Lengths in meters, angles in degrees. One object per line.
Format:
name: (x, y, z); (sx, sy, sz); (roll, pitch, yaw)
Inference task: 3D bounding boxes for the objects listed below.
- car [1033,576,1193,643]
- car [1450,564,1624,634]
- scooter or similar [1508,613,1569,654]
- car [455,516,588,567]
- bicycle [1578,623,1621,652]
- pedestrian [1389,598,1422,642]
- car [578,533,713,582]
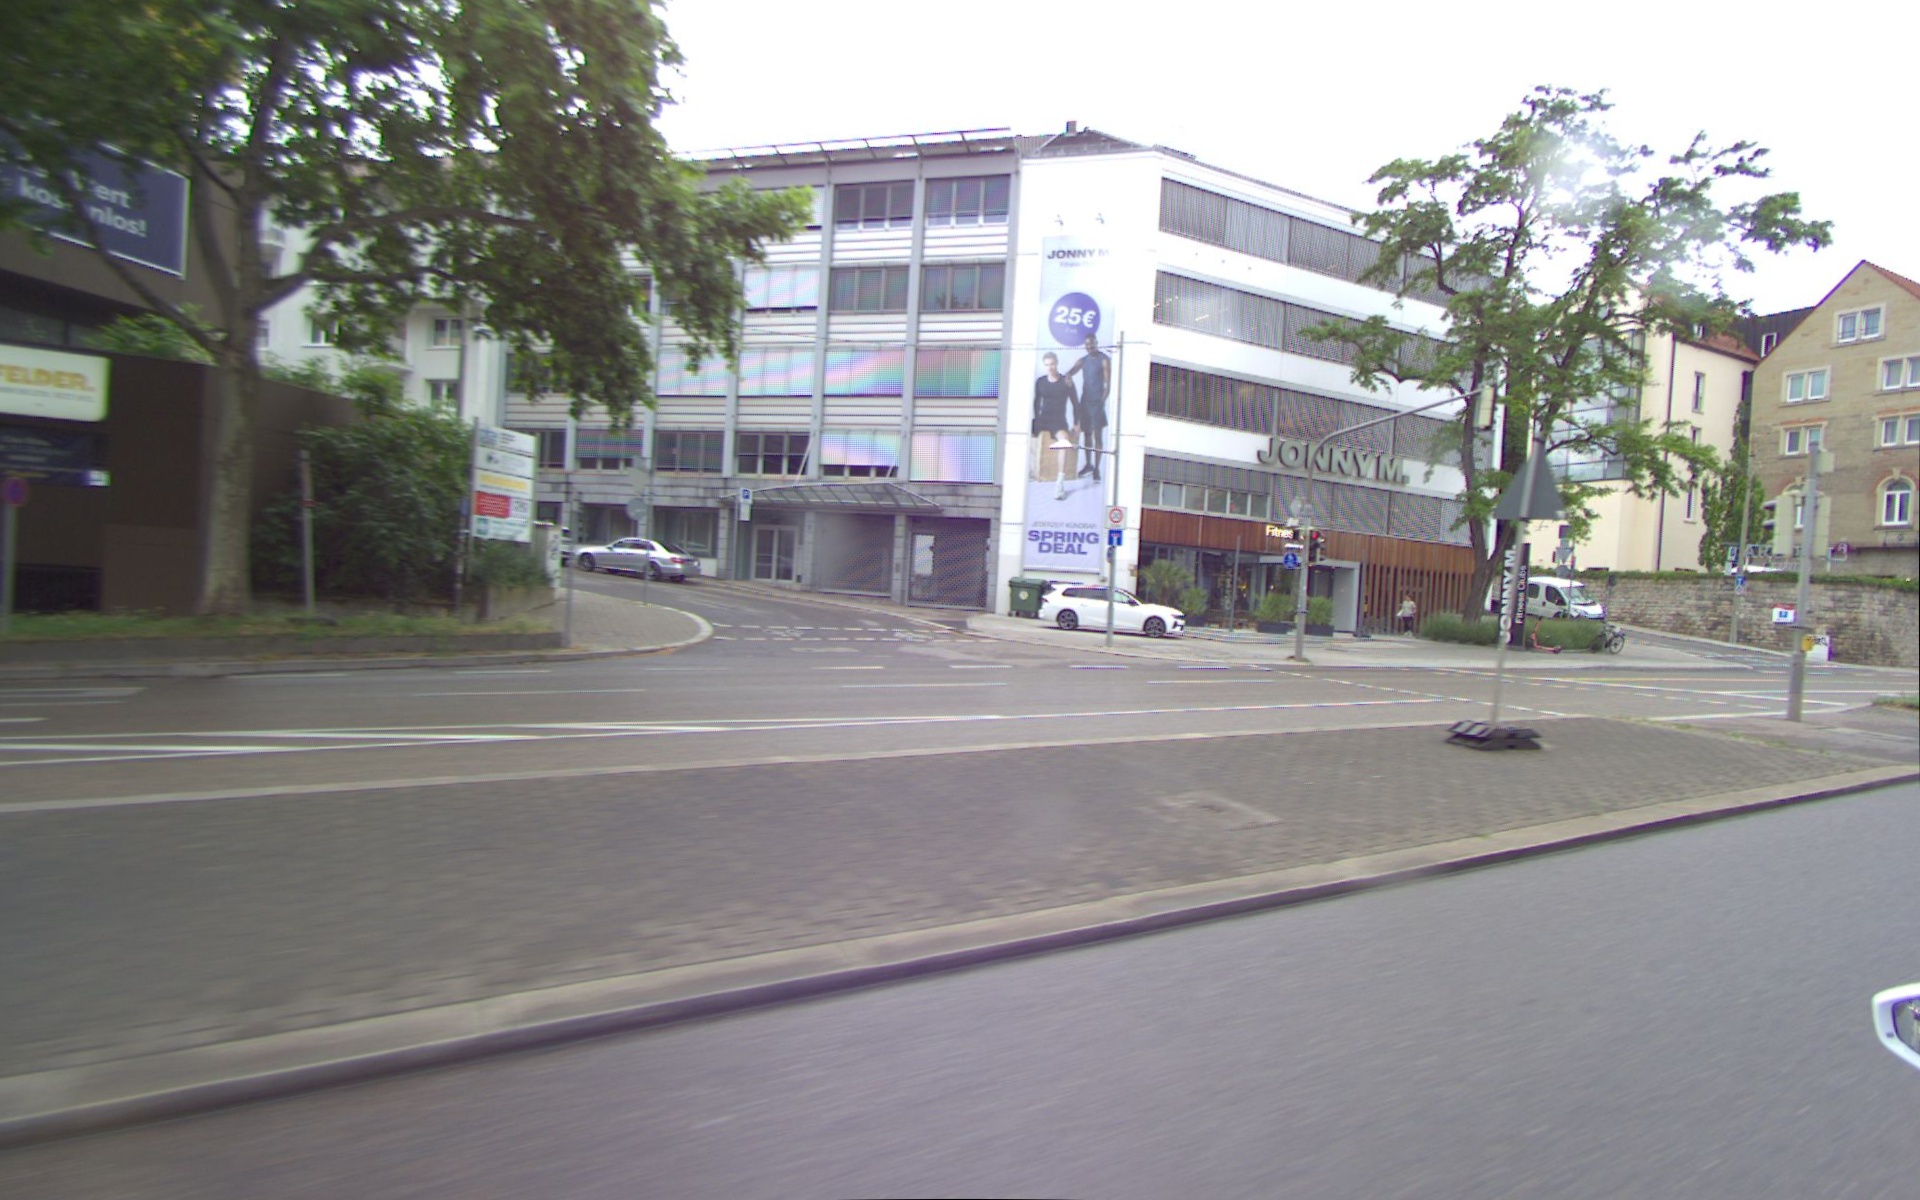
car: (4.869, 0.264, 31.707); (4.746, 1.676, 2.001); (5, 2, 13)
car: (27.101, -0.169, 47.586); (2.479, 2.307, 6.880); (-1, 9, -24)
scooter or similar: (20.030, 1.149, 34.800); (1.727, 1.263, 0.369); (6, 3, 35)
car: (-17.070, -2.270, 39.146); (4.398, 1.596, 2.001); (5, 2, 15)
bicycle: (23.526, 1.381, 36.960); (1.735, 1.004, 0.455); (2, 1, -26)
pedestrian: (17.240, 0.759, 38.886); (0.831, 1.663, 0.765); (1, 0, -26)
car: (-11.744, -1.590, 37.580); (4.398, 1.485, 2.001); (5, 2, 15)
